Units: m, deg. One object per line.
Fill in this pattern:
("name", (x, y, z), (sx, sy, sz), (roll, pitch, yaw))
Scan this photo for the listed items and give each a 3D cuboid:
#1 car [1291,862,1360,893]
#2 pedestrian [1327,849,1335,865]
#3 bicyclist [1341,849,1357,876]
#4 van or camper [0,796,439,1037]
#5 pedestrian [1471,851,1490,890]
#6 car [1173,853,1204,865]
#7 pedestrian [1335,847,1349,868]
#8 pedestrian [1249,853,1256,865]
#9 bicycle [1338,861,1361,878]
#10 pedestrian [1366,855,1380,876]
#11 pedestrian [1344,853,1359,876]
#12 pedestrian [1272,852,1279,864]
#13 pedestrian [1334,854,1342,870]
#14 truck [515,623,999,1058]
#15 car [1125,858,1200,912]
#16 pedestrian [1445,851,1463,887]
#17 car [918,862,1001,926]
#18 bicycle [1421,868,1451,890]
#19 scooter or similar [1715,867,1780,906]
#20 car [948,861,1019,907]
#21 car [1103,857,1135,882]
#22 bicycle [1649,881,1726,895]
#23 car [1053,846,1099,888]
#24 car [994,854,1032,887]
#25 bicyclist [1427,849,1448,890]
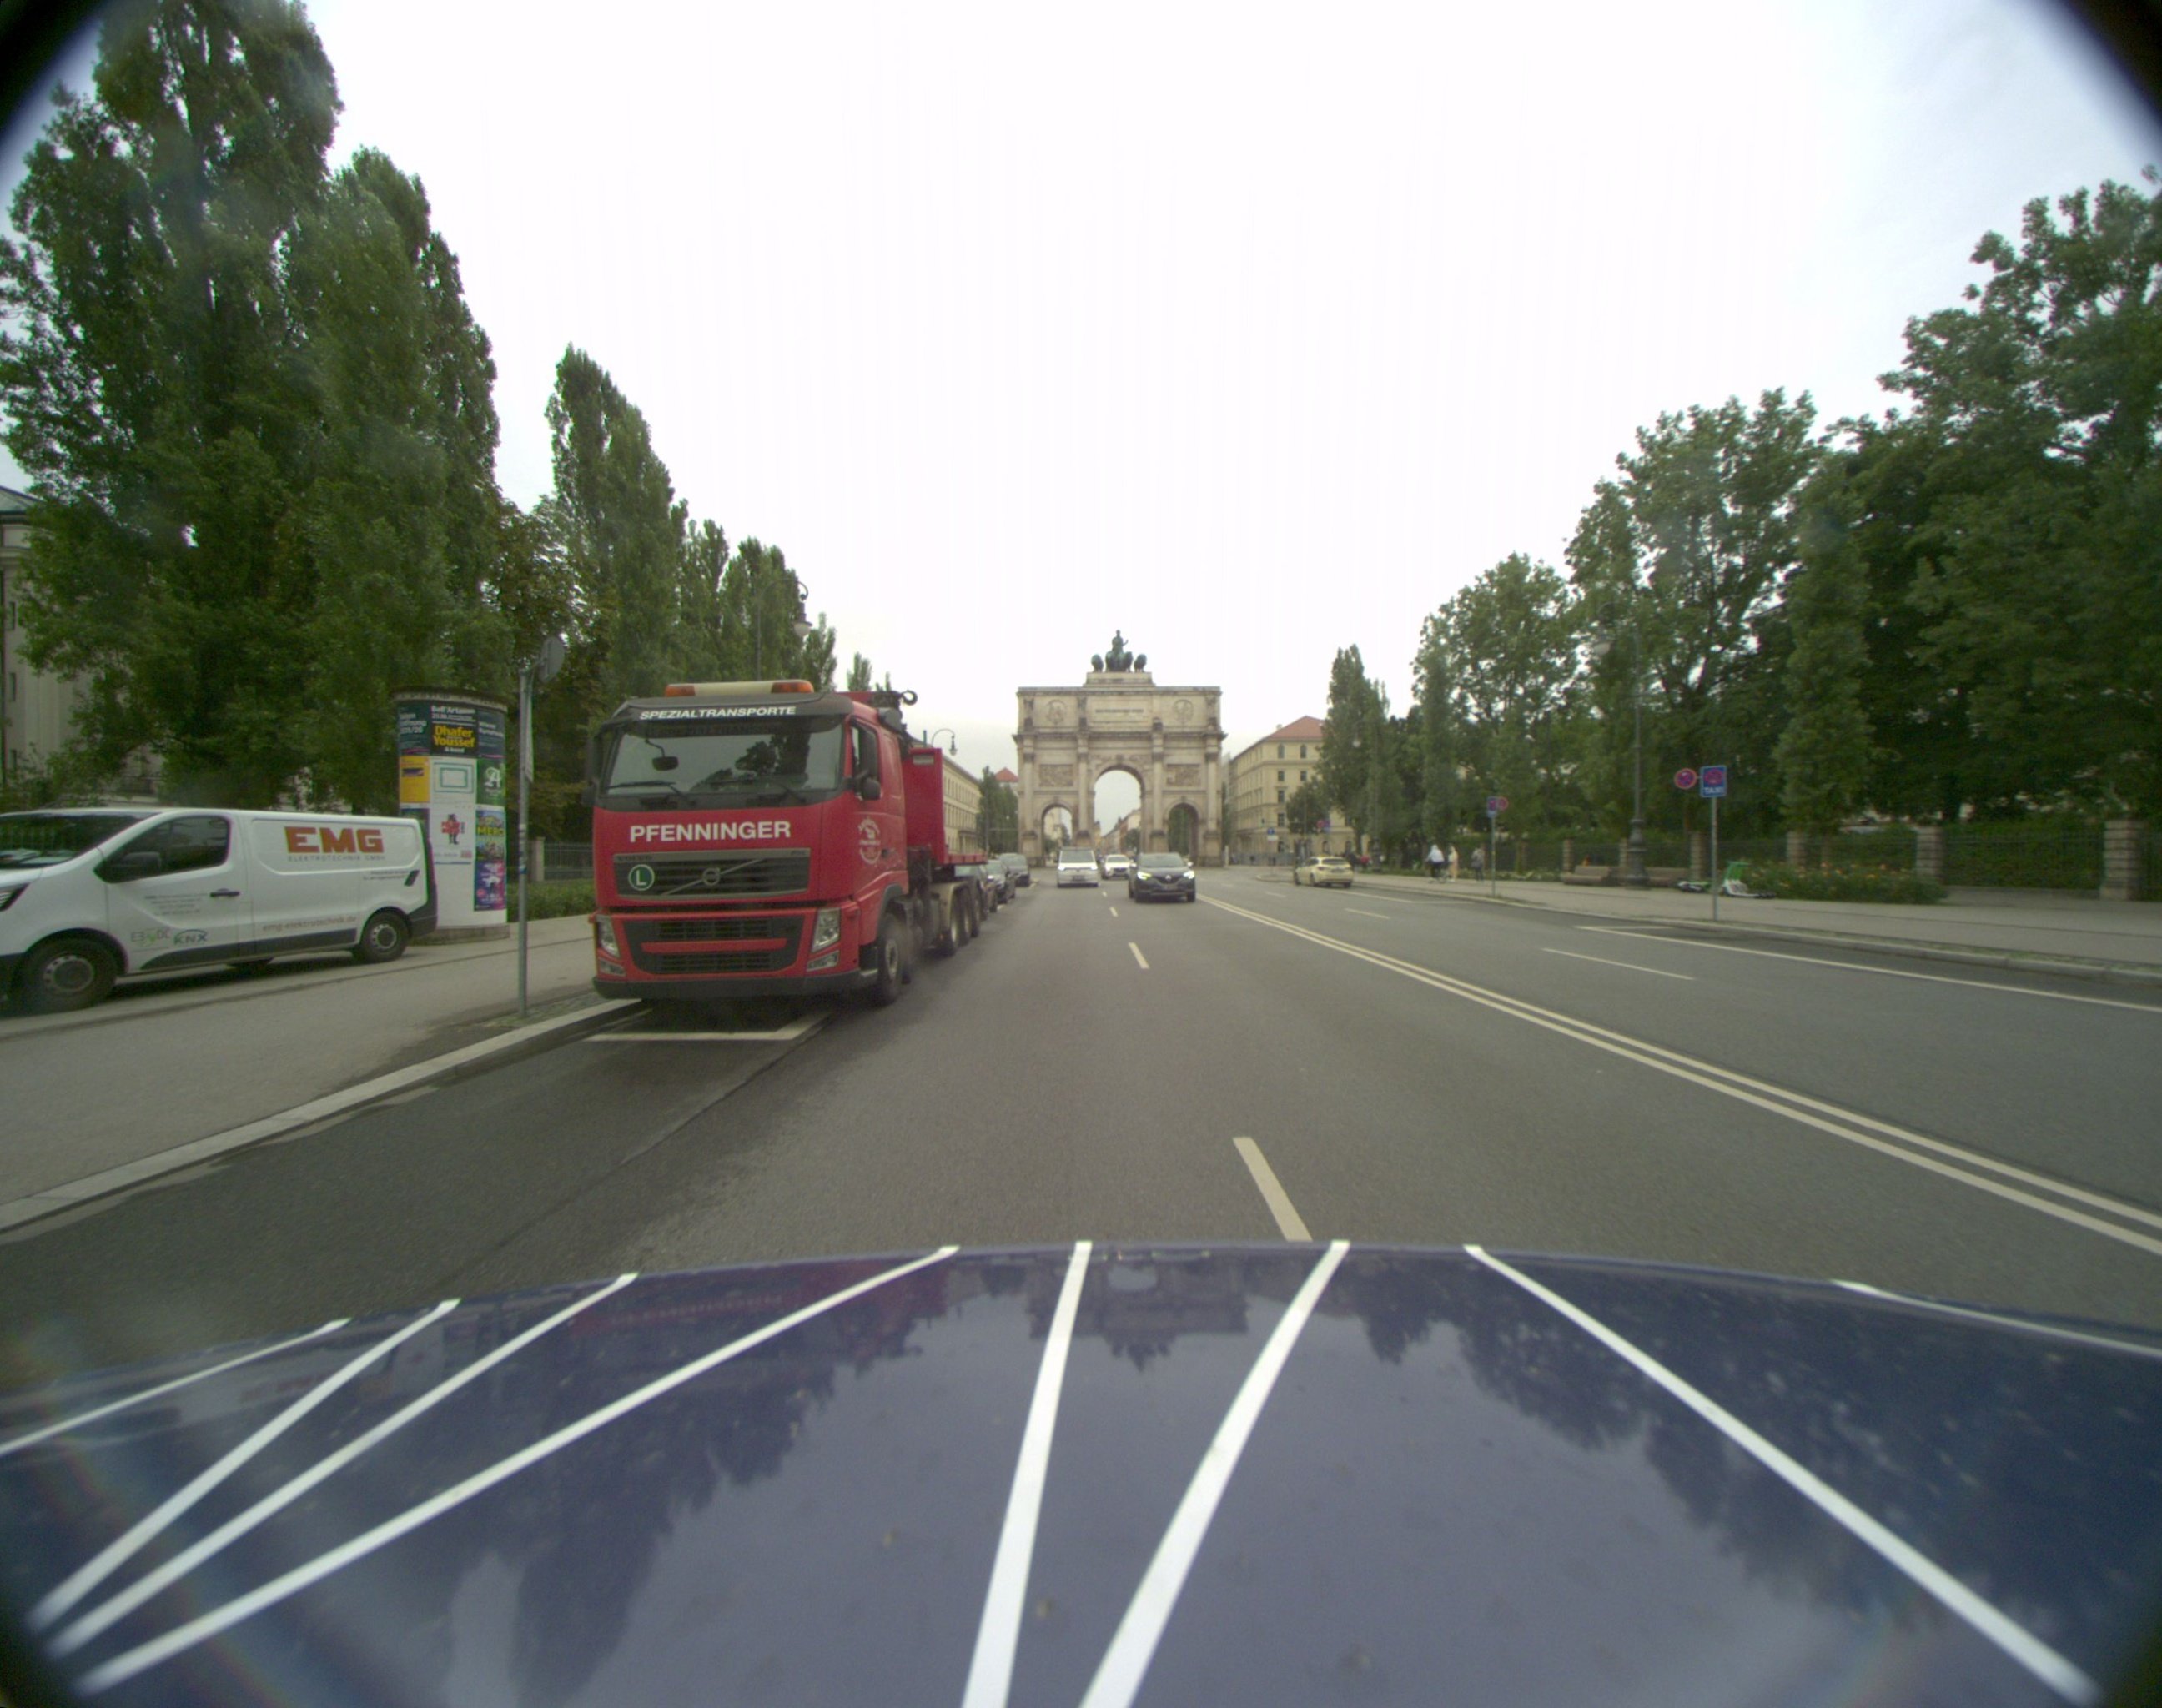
("car", (11.653, 1.085, 36.498), (1.797, 1.329, 4.468), (0, 0, -1))
("pedestrian", (31.131, 0.414, 94.541), (0.769, 2.002, 0.887), (0, 0, 10))
("bicyclist", (16.091, 0.491, 45.653), (0.647, 1.583, 0.661), (-2, 1, -1))
("van or camper", (-10.022, 0.541, 8.174), (2.009, 2.002, 4.985), (-1, 0, -1))
("pedestrian", (17.890, 0.732, 34.039), (0.533, 1.720, 0.583), (0, 1, -11))
("car", (14.997, 0.693, 106.385), (2.004, 1.739, 3.989), (0, 0, -39))
("pedestrian", (21.903, 0.258, 63.778), (0.958, 1.708, 1.032), (-1, 1, 22))
("pedestrian", (26.090, 0.822, 115.595), (1.031, 1.812, 0.882), (0, 0, 8))
("bicycle", (16.107, 0.899, 45.561), (0.674, 0.947, 1.913), (-2, 0, 0))
("pedestrian", (25.980, 1.027, 67.691), (0.990, 1.860, 1.031), (-1, 1, 11))
("pedestrian", (21.037, 0.813, 59.122), (0.959, 1.708, 1.031), (-1, 1, 13))
("pedestrian", (28.259, 0.591, 110.256), (0.880, 1.812, 0.686), (0, 1, 9))
("pedestrian", (31.931, 1.027, 94.425), (0.769, 2.002, 0.887), (0, 0, 10))
("truck", (-3.229, -0.109, 11.429), (2.852, 3.543, 10.278), (-1, 0, 0))
("car", (2.560, 0.923, 24.785), (1.840, 1.576, 4.184), (0, 0, -3))
("pedestrian", (17.790, 0.715, 36.212), (0.533, 1.720, 0.583), (0, 1, -11))
("car", (-3.042, 0.957, 19.649), (1.565, 1.460, 3.653), (0, 0, 0))
("bicycle", (16.044, 1.116, 34.385), (0.470, 0.947, 1.913), (-2, 0, 0))
("scooter or similar", (21.138, 1.015, 24.118), (0.747, 1.171, 1.416), (1, 0, -4))
("car", (-3.213, 0.946, 25.808), (1.847, 1.383, 4.438), (0, 0, 0))
("car", (2.360, 0.923, 46.934), (1.909, 1.516, 4.010), (0, 0, 4))
("bicycle", (22.763, 1.267, 28.509), (2.219, 0.450, 1.339), (0, -1, -22))
("car", (-0.164, 0.584, 37.508), (2.064, 1.916, 5.728), (-1, 0, 1))
("car", (-3.434, 0.816, 39.043), (1.847, 1.597, 4.366), (0, 0, -4))
("bicyclist", (16.058, 0.687, 34.278), (0.591, 1.812, 0.661), (-2, 1, -1))
